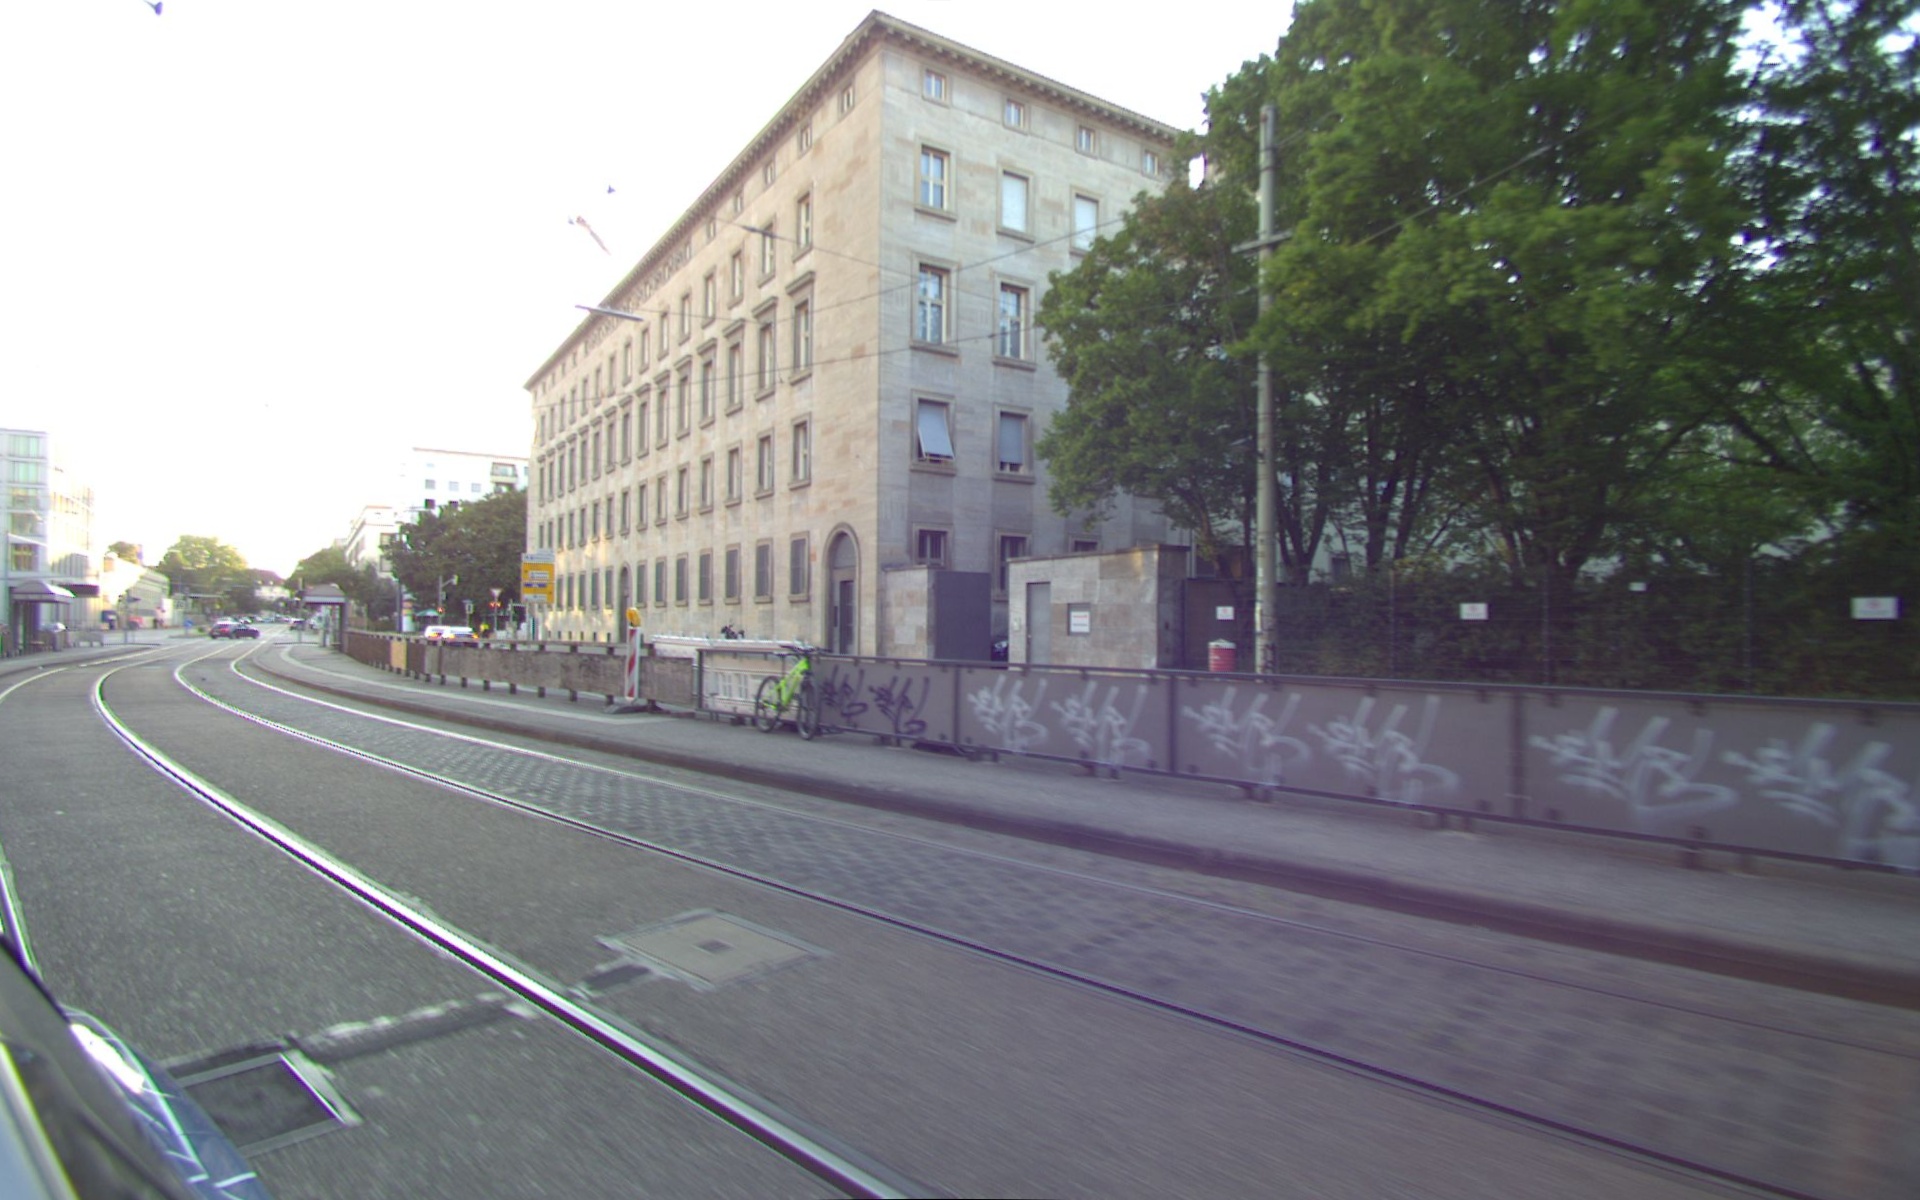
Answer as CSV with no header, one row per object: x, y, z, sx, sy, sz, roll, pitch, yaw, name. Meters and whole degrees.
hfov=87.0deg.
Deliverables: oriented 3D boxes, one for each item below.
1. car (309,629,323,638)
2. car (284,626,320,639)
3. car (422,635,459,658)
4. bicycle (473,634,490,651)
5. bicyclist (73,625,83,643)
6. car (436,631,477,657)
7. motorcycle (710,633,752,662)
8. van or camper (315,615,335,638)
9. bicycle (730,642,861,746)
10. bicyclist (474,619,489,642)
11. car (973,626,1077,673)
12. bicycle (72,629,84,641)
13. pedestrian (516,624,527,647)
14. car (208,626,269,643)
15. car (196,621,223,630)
-107.982,5.590,169.701,1.694,1.441,3.821,1,-2,-30,car
-92.487,4.554,142.214,4.308,1.676,1.876,0,-2,17,car
-33.363,2.958,64.976,1.620,1.438,4.243,1,-2,-33,car
-30.146,2.690,63.779,0.731,1.025,1.765,1,-2,-33,bicycle
-79.478,3.066,91.182,0.532,1.648,0.598,1,-2,-33,bicyclist
-29.673,2.580,59.582,1.620,1.438,3.715,4,-4,-33,car
-8.926,1.849,39.415,0.689,1.083,2.661,2,-2,-33,motorcycle
-82.431,3.434,131.400,2.076,2.702,4.723,0,-4,-32,van or camper
-1.940,1.036,11.704,0.457,1.083,2.024,2,-3,-42,bicycle
-30.235,1.942,63.941,0.746,1.452,0.598,1,-2,-33,bicyclist
2.130,1.575,32.839,3.133,1.430,1.482,1,-2,-34,car
-79.465,3.161,91.188,0.531,1.059,1.766,1,-2,-33,bicycle
-32.853,2.665,75.822,0.686,1.723,0.648,1,-2,-31,pedestrian
-61.769,2.952,86.732,1.682,1.431,4.153,0,-2,14,car
-135.030,4.586,182.091,3.745,1.661,1.868,1,-2,-34,car
